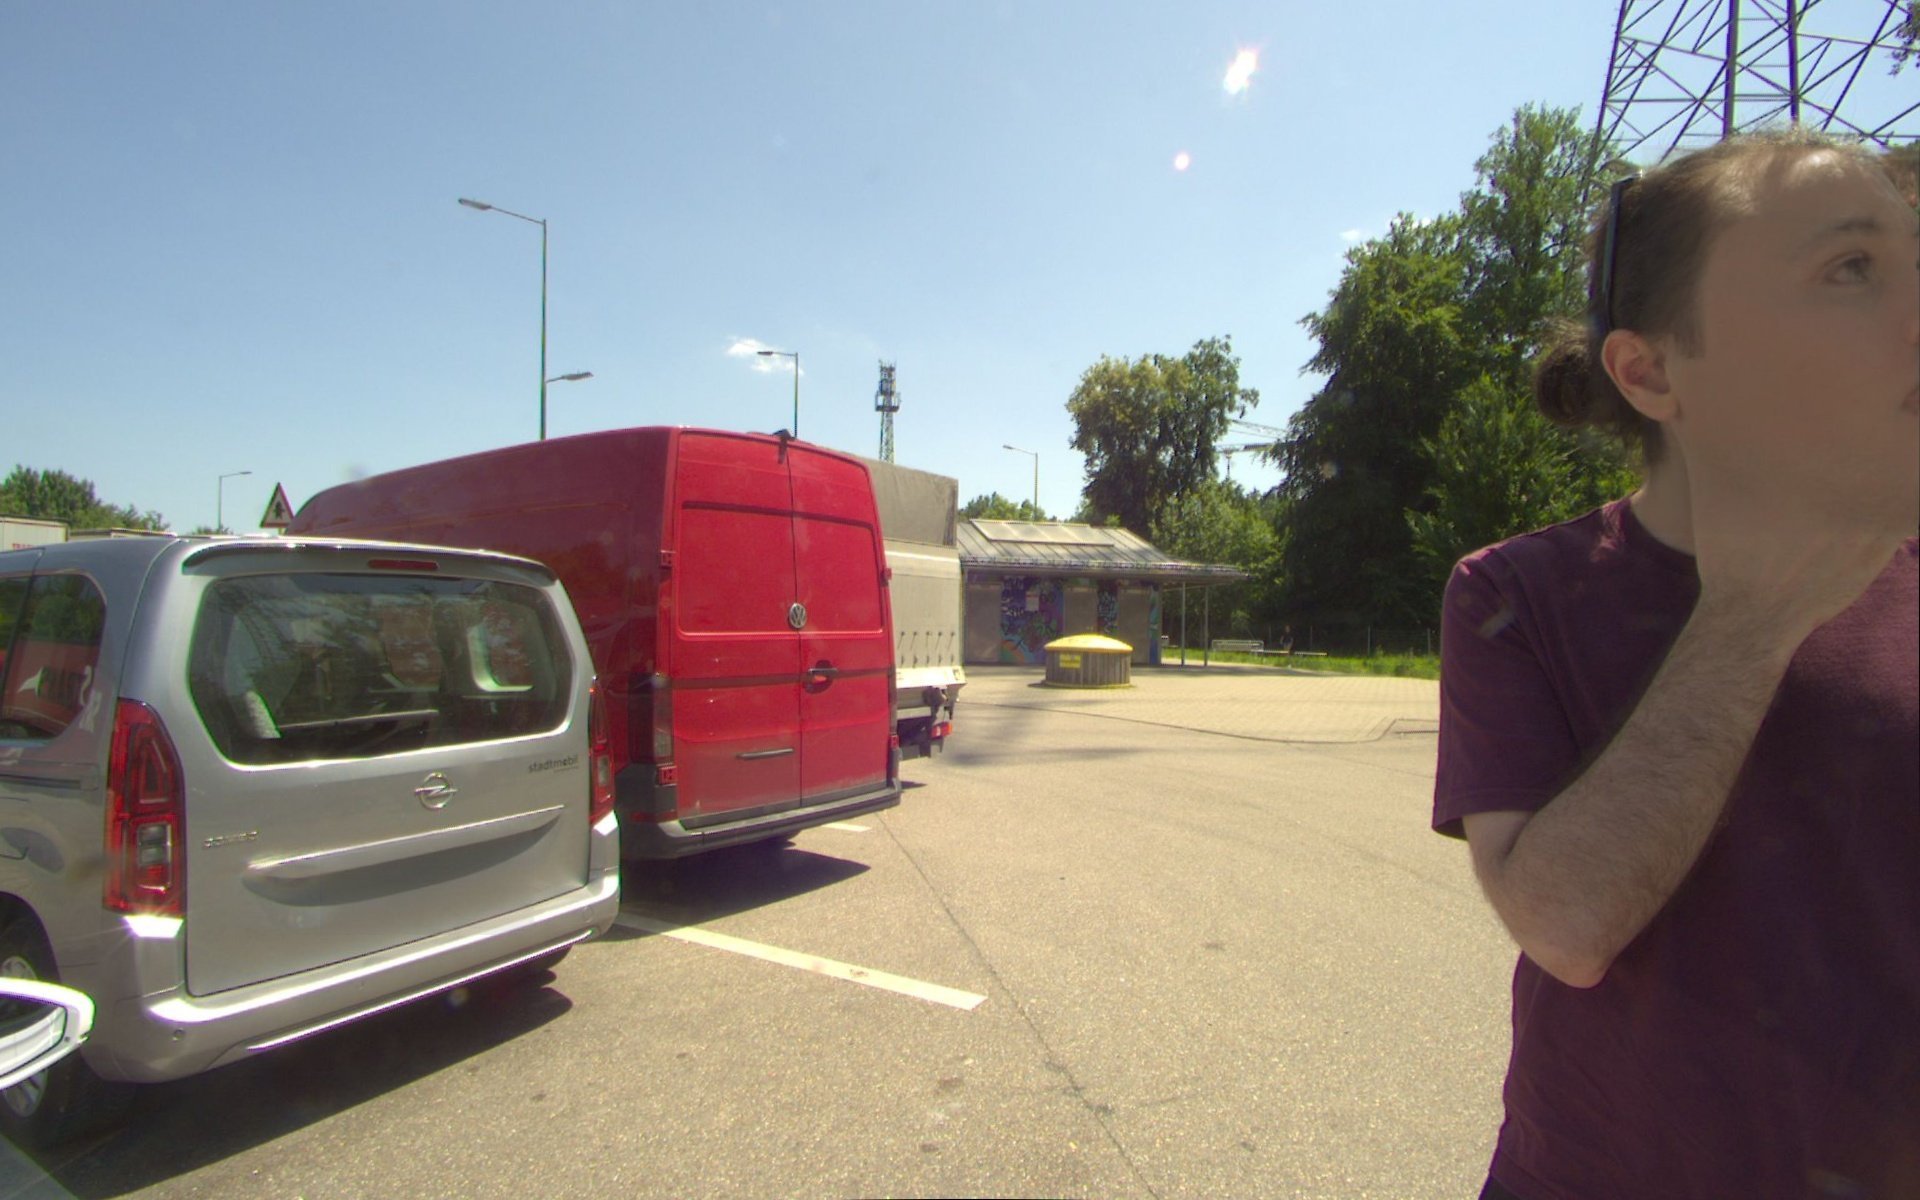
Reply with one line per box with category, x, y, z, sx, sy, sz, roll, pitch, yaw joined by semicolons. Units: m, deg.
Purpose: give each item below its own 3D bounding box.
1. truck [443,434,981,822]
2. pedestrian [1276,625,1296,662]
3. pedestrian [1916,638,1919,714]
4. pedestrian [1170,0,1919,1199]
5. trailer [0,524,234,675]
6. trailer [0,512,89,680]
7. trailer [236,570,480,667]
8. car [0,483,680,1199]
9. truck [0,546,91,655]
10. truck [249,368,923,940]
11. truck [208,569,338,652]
truck;-2.745;0.311;10.284;5.581;2.949;2.449;-2;-2;37
pedestrian;15.024;2.005;46.202;0.723;1.658;0.792;0;-1;7
pedestrian;17.249;1.334;17.479;0.690;1.352;0.561;-1;-1;33
pedestrian;0.768;0.531;0.918;0.848;1.857;0.861;0;-1;-12
trailer;-27.965;-0.099;31.778;14.184;4.040;2.808;2;-2;33
trailer;-29.028;-0.257;28.132;14.184;4.040;2.808;2;-2;33
trailer;-26.114;0.651;42.894;14.184;3.552;2.808;2;-2;33
car;-3.388;0.692;4.245;4.113;1.887;1.868;1;-2;31
truck;-33.784;-0.005;35.506;5.813;3.566;2.799;2;-2;32
truck;-2.896;0.342;7.045;5.238;2.655;1.972;-2;-2;37
truck;-32.110;0.471;46.750;5.813;3.566;2.799;2;-2;32
